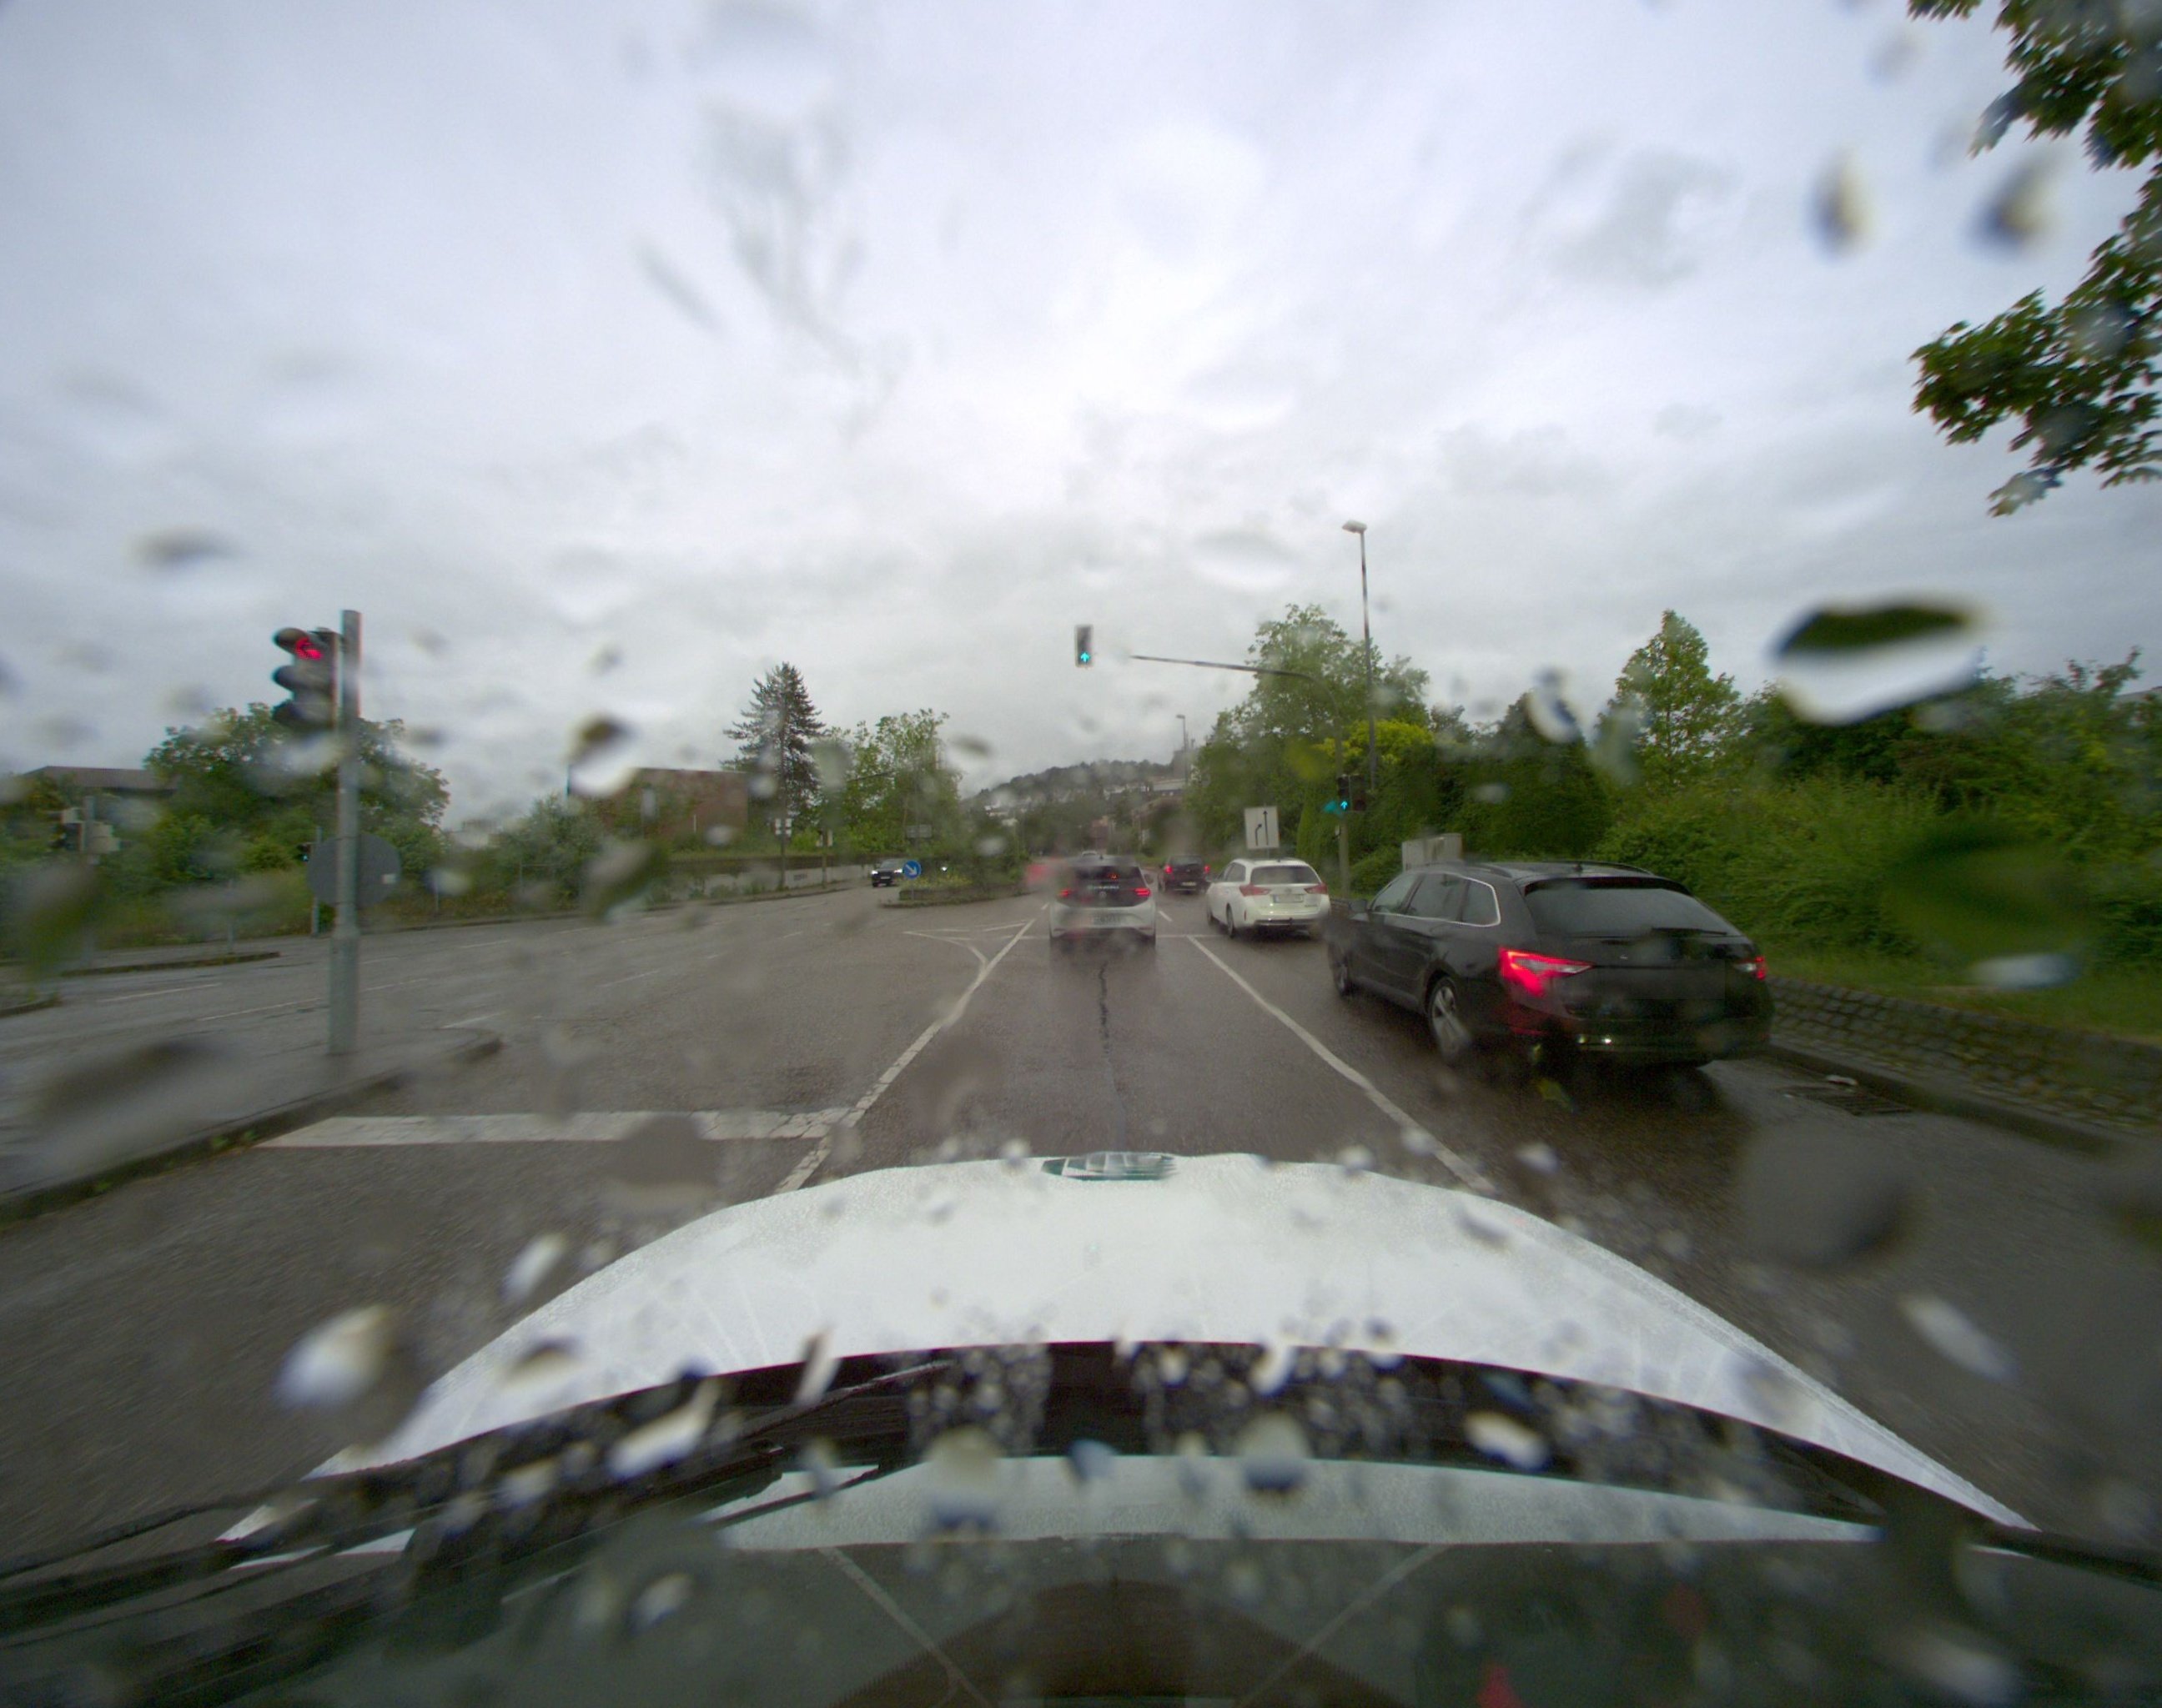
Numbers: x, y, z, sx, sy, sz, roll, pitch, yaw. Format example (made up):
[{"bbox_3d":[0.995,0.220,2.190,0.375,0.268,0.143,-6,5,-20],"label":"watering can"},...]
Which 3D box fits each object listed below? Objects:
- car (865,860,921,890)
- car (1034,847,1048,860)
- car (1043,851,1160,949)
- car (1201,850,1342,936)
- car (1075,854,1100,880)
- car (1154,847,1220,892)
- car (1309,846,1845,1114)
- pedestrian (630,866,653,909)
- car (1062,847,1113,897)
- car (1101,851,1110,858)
[{"bbox_3d":[-10.552,1.138,45.988,1.943,1.478,4.297,-4,-1,1],"label":"car"},{"bbox_3d":[-6.383,-0.013,130.004,1.988,2.014,3.998,0,-1,-1],"label":"car"},{"bbox_3d":[0.373,0.746,14.896,1.822,1.500,4.169,-1,-1,1],"label":"car"},{"bbox_3d":[3.545,0.683,15.953,1.841,1.410,4.302,-1,-1,1],"label":"car"},{"bbox_3d":[0.599,1.066,67.730,1.986,2.014,4.001,0,-1,1],"label":"car"},{"bbox_3d":[3.917,0.580,30.724,1.986,1.453,3.771,-4,-1,1],"label":"car"},{"bbox_3d":[3.499,0.743,6.999,1.946,1.507,4.610,1,-1,2],"label":"car"},{"bbox_3d":[-17.192,1.302,31.867,0.546,1.642,0.503,-4,-1,31],"label":"pedestrian"},{"bbox_3d":[0.169,0.542,27.432,1.563,1.530,3.998,-1,0,-1],"label":"car"},{"bbox_3d":[4.968,0.078,165.659,1.733,1.464,3.998,0,-1,-1],"label":"car"}]
